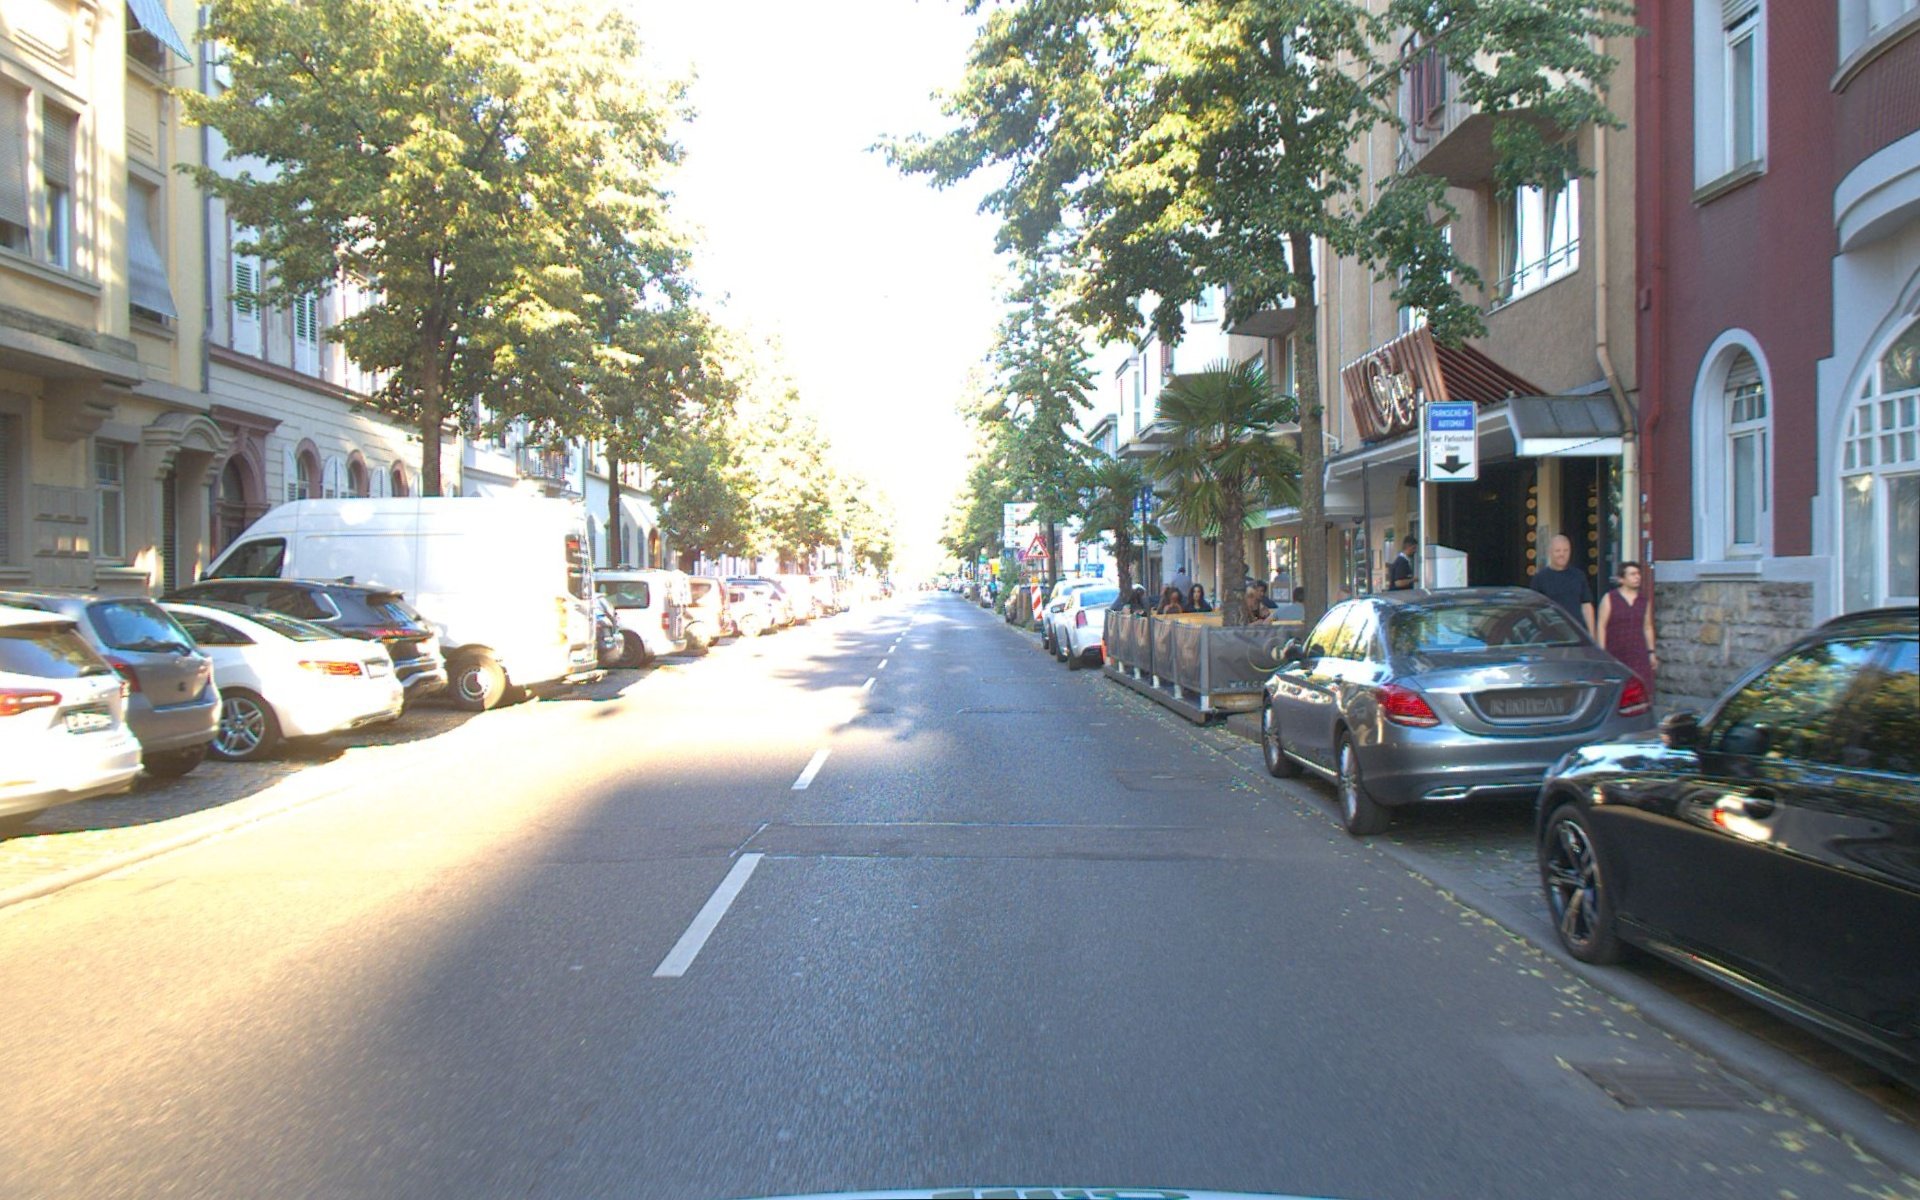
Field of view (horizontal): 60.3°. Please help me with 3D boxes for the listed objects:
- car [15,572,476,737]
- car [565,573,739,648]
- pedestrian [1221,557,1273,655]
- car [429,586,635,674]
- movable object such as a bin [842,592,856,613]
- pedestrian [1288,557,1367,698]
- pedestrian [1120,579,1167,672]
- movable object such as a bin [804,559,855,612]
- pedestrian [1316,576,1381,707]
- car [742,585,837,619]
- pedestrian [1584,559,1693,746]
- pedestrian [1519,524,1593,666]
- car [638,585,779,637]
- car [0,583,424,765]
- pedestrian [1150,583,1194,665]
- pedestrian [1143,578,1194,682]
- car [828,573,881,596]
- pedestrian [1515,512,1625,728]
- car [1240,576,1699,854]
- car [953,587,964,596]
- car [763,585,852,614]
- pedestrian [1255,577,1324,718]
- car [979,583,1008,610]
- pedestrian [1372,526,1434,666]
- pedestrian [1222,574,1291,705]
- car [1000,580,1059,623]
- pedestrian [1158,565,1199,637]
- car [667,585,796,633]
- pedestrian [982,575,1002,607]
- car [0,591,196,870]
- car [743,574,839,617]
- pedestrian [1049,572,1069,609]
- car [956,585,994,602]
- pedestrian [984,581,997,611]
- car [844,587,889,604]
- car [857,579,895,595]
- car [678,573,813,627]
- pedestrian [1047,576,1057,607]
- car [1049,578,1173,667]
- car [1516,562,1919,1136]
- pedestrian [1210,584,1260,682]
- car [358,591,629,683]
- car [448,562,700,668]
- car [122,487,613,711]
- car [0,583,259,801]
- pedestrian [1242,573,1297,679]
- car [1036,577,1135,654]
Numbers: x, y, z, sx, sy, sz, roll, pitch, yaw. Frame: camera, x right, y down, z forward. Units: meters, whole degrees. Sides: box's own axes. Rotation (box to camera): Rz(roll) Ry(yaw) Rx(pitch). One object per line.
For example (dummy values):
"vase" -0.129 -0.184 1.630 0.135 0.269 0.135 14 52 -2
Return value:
"car" -7.641 0.551 18.004 4.126 1.628 1.975 1 0 0
"car" -7.838 0.260 42.336 4.053 1.838 1.807 0 0 1
"pedestrian" 5.190 0.098 29.960 0.772 1.734 0.700 -2 0 -1
"car" -7.595 0.520 29.593 3.303 1.492 1.711 1 0 -5
"movable object such as a bin" -6.035 0.110 90.157 0.675 1.124 0.883 -1 0 1
"pedestrian" 4.392 0.318 19.793 0.693 1.626 0.795 -2 0 -1
"pedestrian" 2.728 0.377 24.669 0.565 1.342 0.704 -2 0 -1
"movable object such as a bin" -7.534 -0.833 96.105 2.571 3.021 5.302 0 0 -1
"pedestrian" 4.177 0.437 17.811 0.536 1.368 0.438 -2 0 -1
"car" -7.769 0.085 75.523 4.242 1.527 1.840 1 1 -6
"pedestrian" 5.682 0.426 13.880 0.611 1.514 0.640 -2 0 0
"pedestrian" 8.271 -0.085 22.971 0.782 1.916 0.879 -1 2 9
"car" -7.476 0.307 49.416 3.978 1.487 1.685 -1 0 -4
"car" -7.341 0.642 15.348 4.127 1.532 1.793 1 0 -1
"pedestrian" 3.364 0.371 26.272 0.565 1.265 0.603 -2 0 -1
"pedestrian" 2.894 0.409 22.977 0.565 1.409 0.603 -2 0 -1
"car" -9.084 -1.339 142.477 4.479 1.996 1.990 0 0 -1
"pedestrian" 4.993 0.159 13.565 0.611 1.706 0.640 -2 0 0
"car" 3.271 0.619 11.747 1.738 1.465 5.001 -3 1 1
"car" -0.225 -1.202 240.794 1.482 1.298 3.303 0 0 0
"car" -8.097 -0.035 88.098 4.499 1.495 1.893 0 1 2
"pedestrian" 3.603 0.509 18.122 0.565 1.487 0.603 -2 0 -1
"car" 2.124 -0.241 104.814 1.652 1.602 4.012 -3 1 -1
"pedestrian" 6.191 -0.065 23.104 0.782 1.916 0.878 -1 2 17
"pedestrian" 3.541 0.457 19.796 0.618 1.511 0.795 -2 0 -1
"car" 2.617 0.046 63.279 1.792 1.514 4.847 -3 1 -3
"pedestrian" 5.626 0.022 42.662 0.839 1.825 0.996 -1 0 -4
"car" -7.476 0.277 54.388 3.955 1.509 1.962 -1 1 -1
"pedestrian" 1.915 -0.523 98.991 0.995 1.857 0.778 -3 0 -11
"car" -7.140 0.690 10.000 4.101 1.508 1.970 1 0 -2
"car" -8.095 -0.231 79.664 4.392 2.010 2.068 0 0 0
"pedestrian" 5.075 -0.490 84.734 0.806 1.886 1.097 -3 0 -2
"car" 1.479 -0.655 161.230 1.645 1.616 3.801 1 0 42
"pedestrian" 1.876 -0.253 101.570 0.665 1.785 0.823 -1 0 -11
"car" -9.425 -0.450 166.814 4.351 1.595 1.919 0 0 0
"car" -9.667 -1.543 190.712 4.351 1.789 1.919 0 0 0
"car" -7.999 -0.026 62.030 4.771 1.941 1.973 -1 0 -1
"pedestrian" 5.744 -0.528 102.931 0.452 1.908 0.499 -1 1 -16
"car" 2.857 0.375 32.379 1.804 1.506 5.189 -3 1 -1
"car" 3.400 0.645 5.087 1.739 1.496 4.416 -3 1 -2
"pedestrian" 4.057 0.481 24.431 0.565 1.409 0.603 -2 0 -1
"car" -7.486 0.594 26.817 3.907 1.429 1.749 0 -1 -3
"car" -7.420 0.269 32.099 4.407 1.987 1.919 0 0 1
"car" -7.520 -0.021 21.472 5.543 2.667 2.171 1 0 -1
"car" -7.552 0.641 12.897 3.337 1.536 1.847 1 0 2
"pedestrian" 4.258 0.350 22.778 0.565 1.409 0.718 -2 0 -1
"car" 2.856 0.317 38.505 1.841 1.601 4.691 -3 1 0
